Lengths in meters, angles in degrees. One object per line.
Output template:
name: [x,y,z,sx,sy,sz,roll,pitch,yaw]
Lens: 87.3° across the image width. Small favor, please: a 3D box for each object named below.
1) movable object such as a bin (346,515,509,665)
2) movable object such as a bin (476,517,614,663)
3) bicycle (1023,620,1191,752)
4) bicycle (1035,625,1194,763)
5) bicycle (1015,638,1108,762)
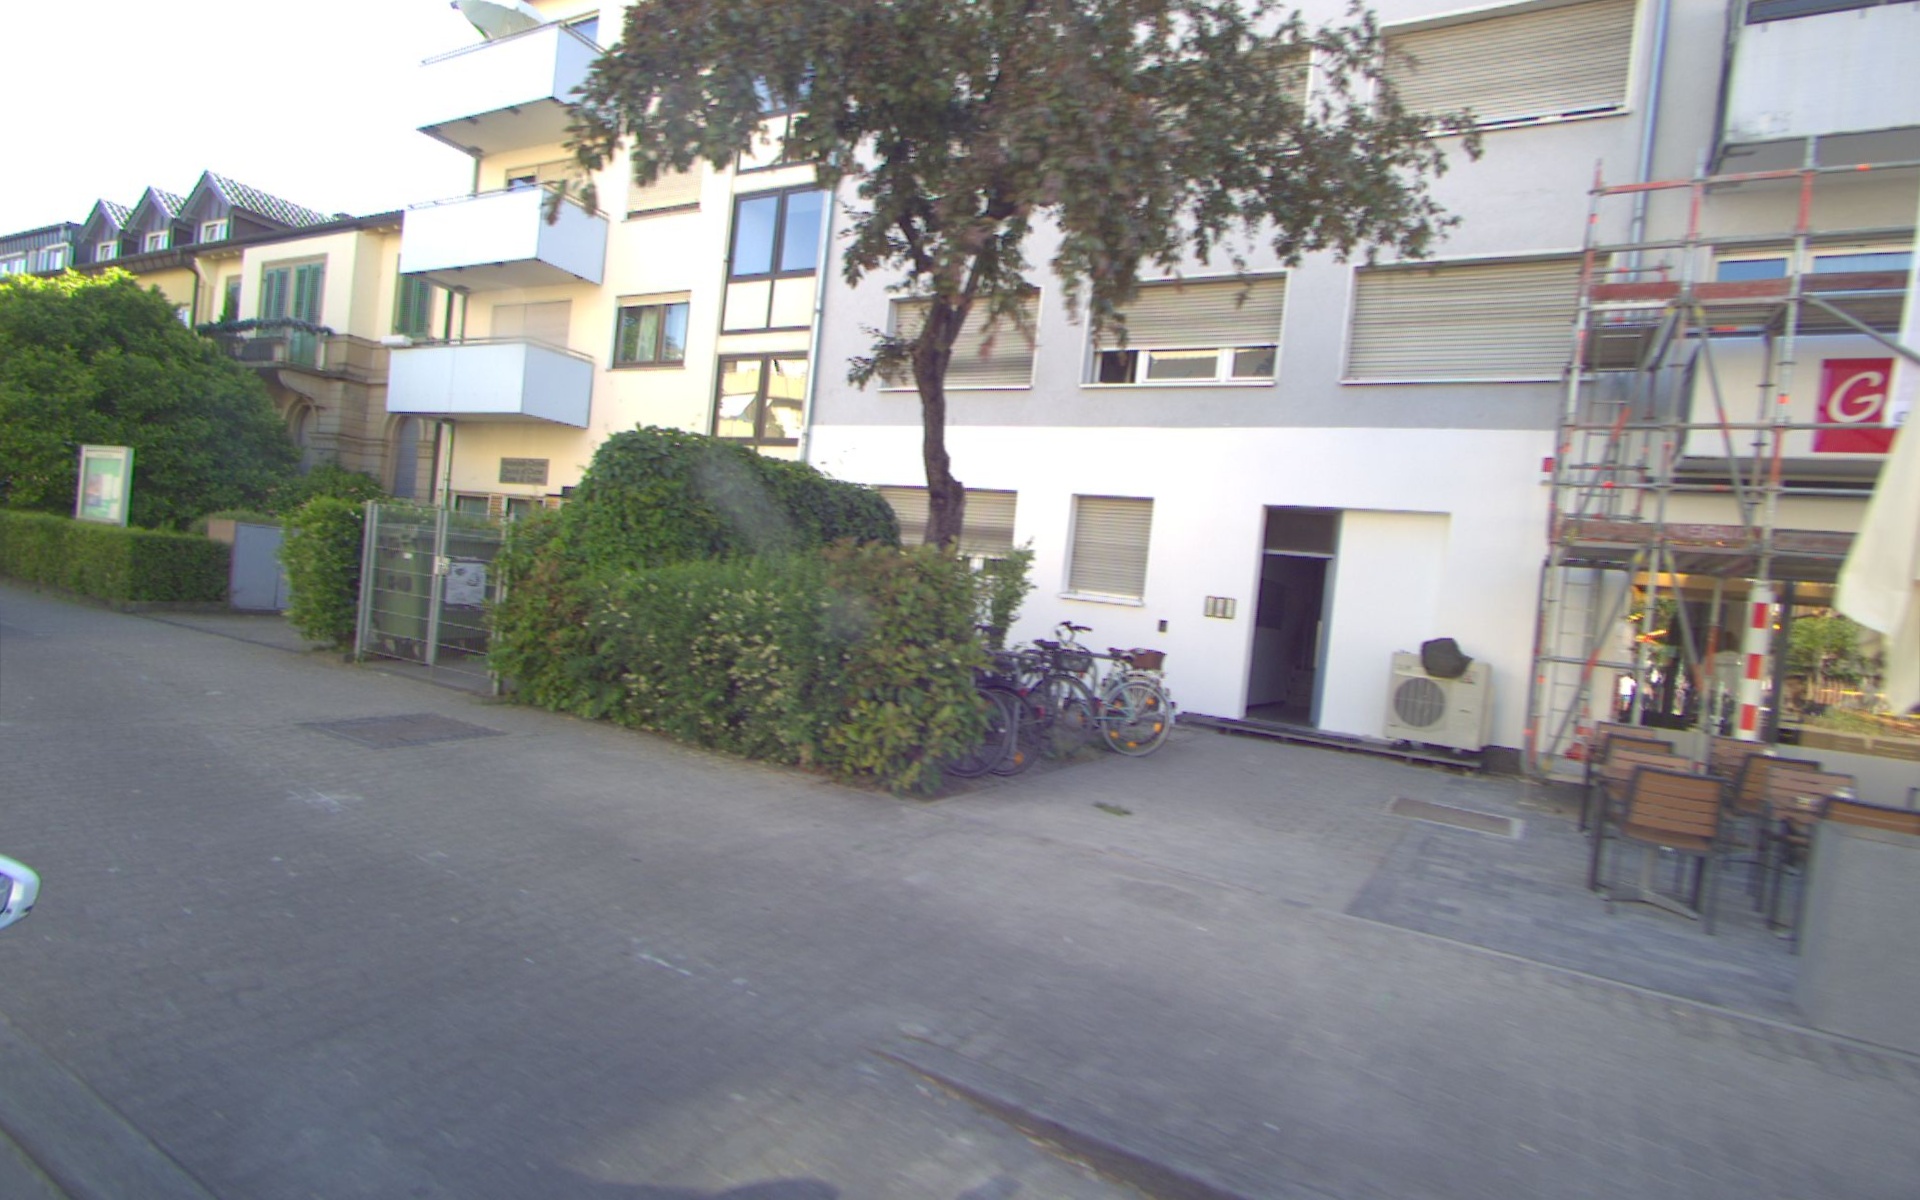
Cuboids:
movable object such as a bin: [-5.385,-0.107,10.223,0.828,1.374,1.140,7,3,21]
movable object such as a bin: [-4.669,-0.107,11.372,0.828,1.493,1.089,7,2,21]
bicycle: [1.496,0.851,10.336,1.515,1.109,0.532,7,3,32]
bicycle: [1.454,0.864,9.596,1.361,1.095,0.372,7,3,32]
bicycle: [0.898,0.872,8.924,0.697,0.996,0.220,7,3,32]
